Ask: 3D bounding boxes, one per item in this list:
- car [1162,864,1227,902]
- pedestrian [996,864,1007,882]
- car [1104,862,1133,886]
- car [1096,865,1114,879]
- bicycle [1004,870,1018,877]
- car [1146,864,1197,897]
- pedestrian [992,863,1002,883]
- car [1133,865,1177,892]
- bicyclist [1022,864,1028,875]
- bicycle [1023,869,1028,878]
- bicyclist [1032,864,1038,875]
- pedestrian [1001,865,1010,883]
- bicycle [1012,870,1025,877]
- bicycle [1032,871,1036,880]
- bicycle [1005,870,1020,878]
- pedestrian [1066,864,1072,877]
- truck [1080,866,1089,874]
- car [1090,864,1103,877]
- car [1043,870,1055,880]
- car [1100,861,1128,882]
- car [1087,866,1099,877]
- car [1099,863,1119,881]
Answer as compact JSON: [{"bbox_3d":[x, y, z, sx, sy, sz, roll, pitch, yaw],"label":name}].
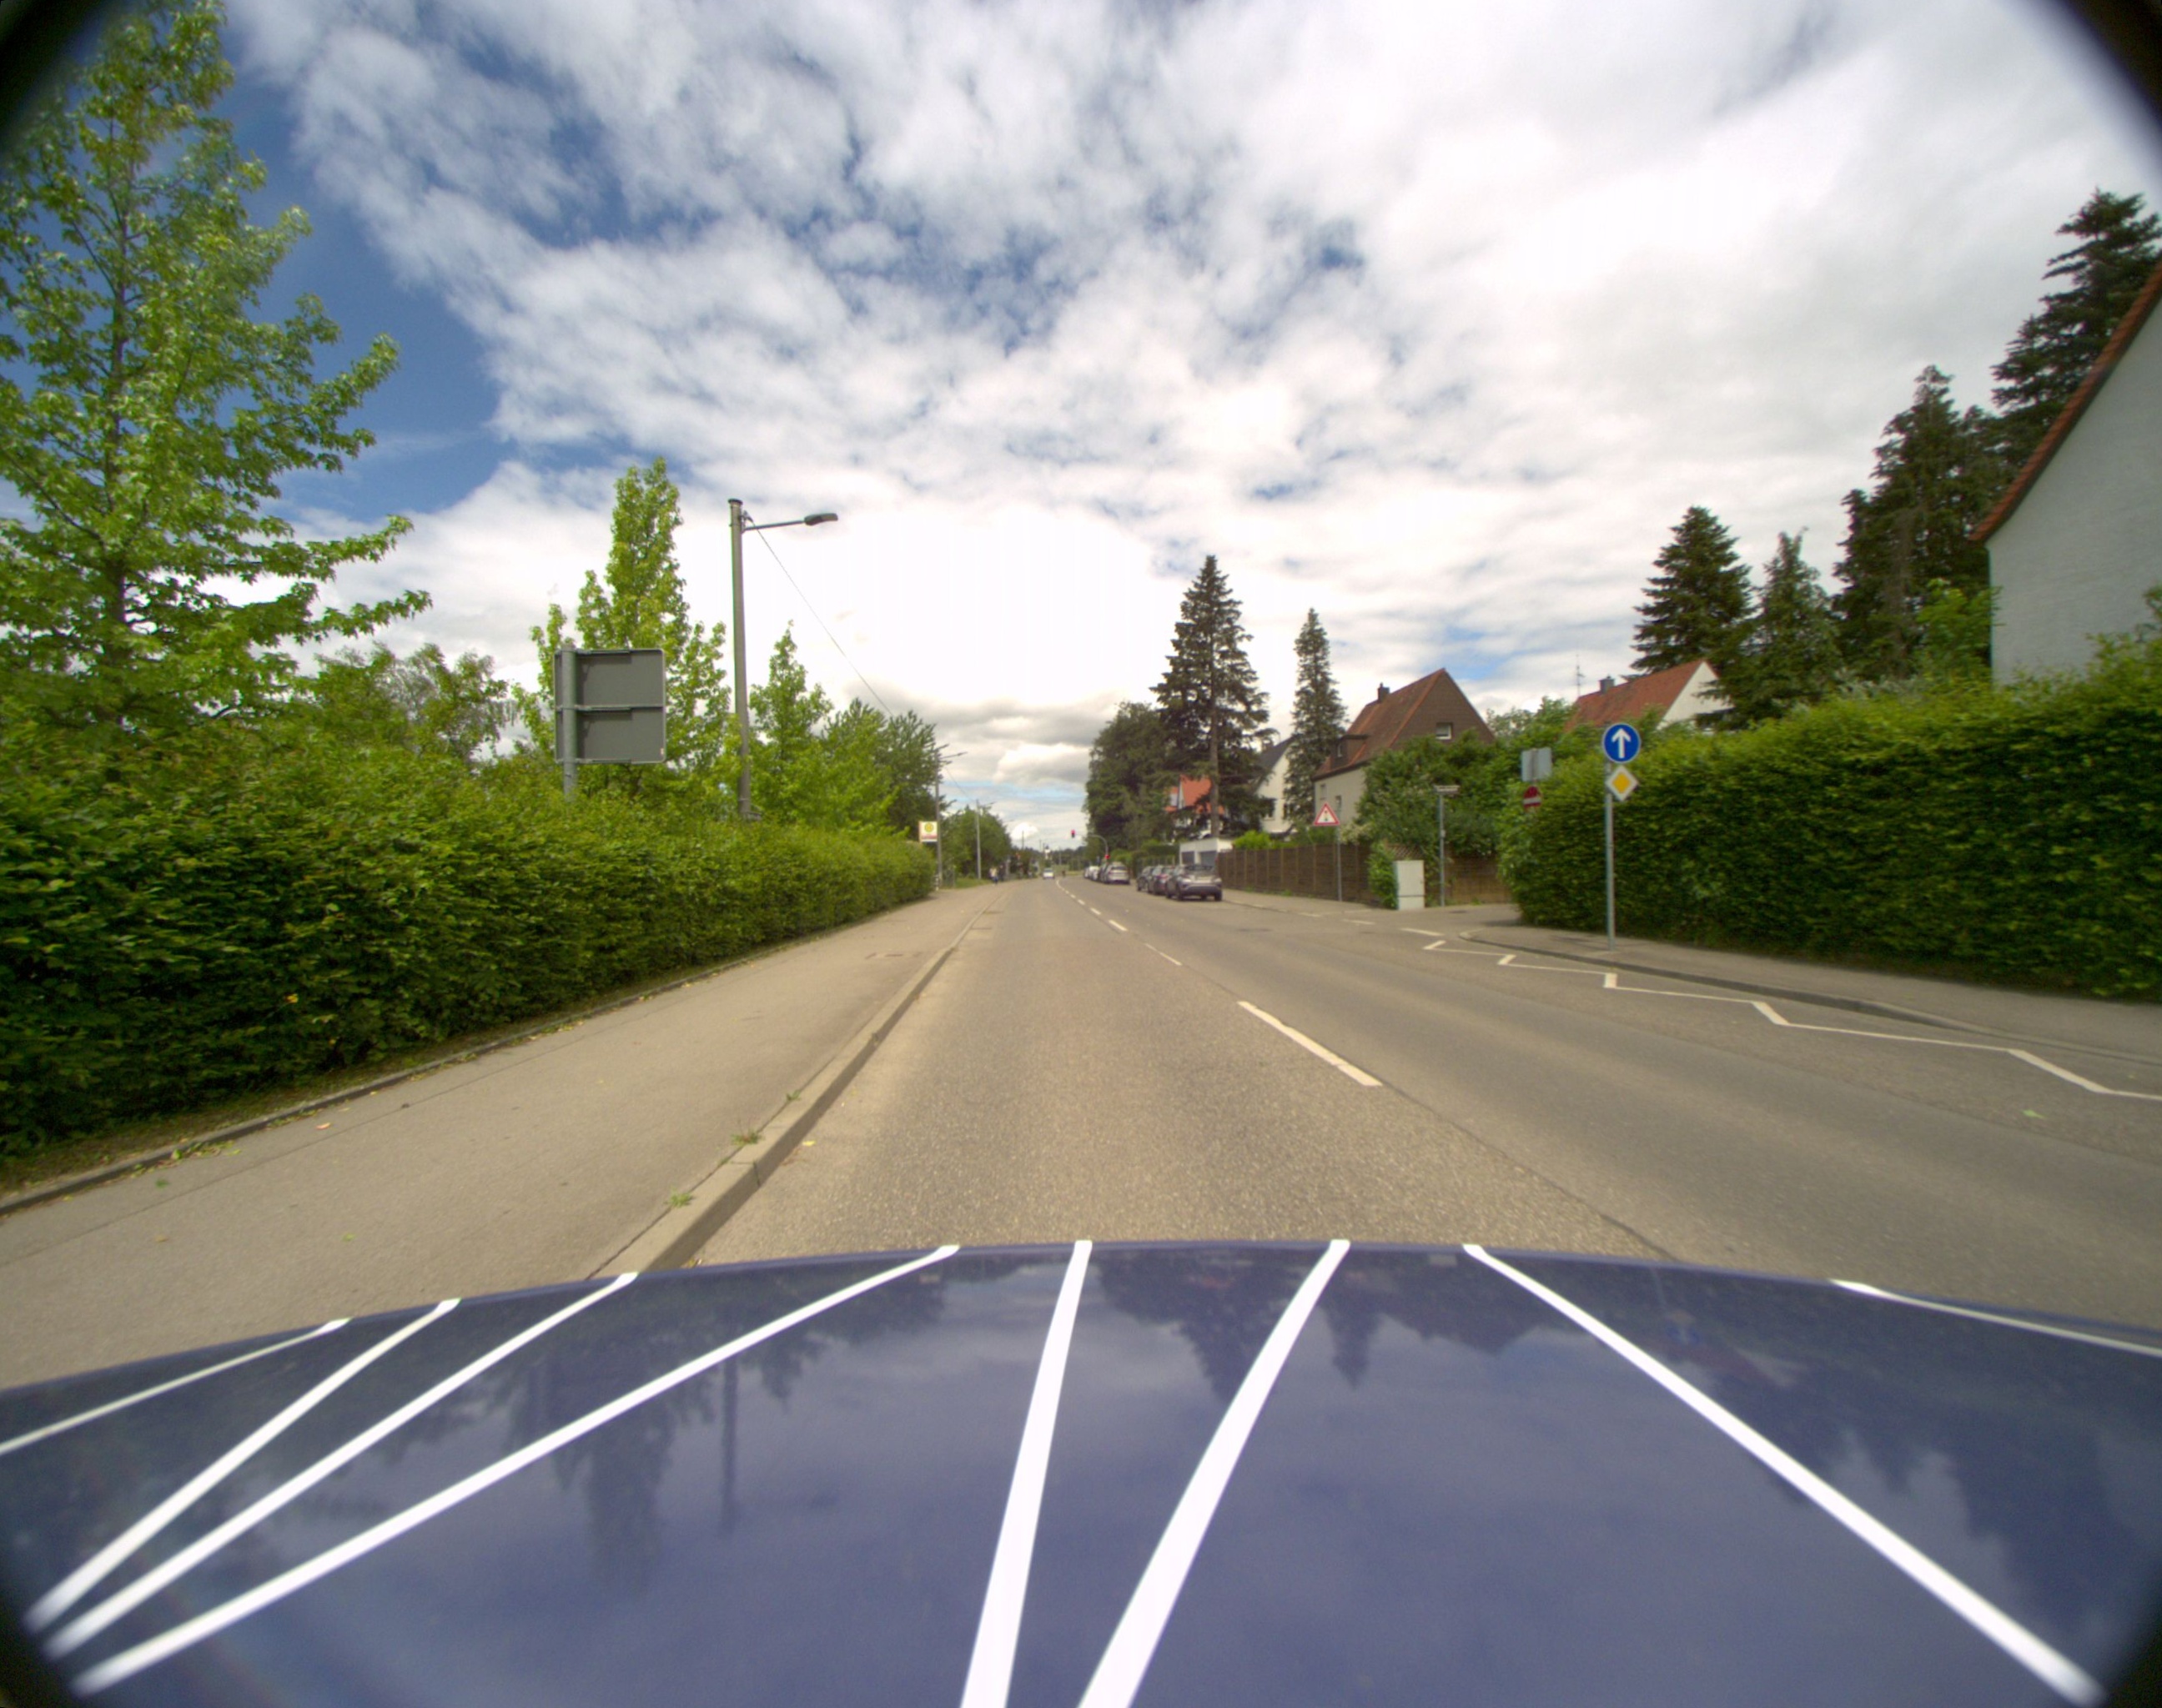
[{"bbox_3d":[4.678,1.175,32.056,1.999,1.470,4.647,0,-1,-1],"label":"car"},{"bbox_3d":[-7.296,1.725,69.593,0.841,1.649,0.766,-3,0,3],"label":"pedestrian"},{"bbox_3d":[3.063,1.639,62.780,1.990,1.808,4.707,-1,-1,-2],"label":"car"},{"bbox_3d":[2.592,1.982,82.041,1.810,1.450,5.069,0,-1,0],"label":"car"},{"bbox_3d":[-10.591,2.999,114.989,2.093,1.074,0.547,-1,0,2],"label":"bicycle"},{"bbox_3d":[4.380,1.261,37.489,1.872,1.450,4.488,-1,0,-2],"label":"car"},{"bbox_3d":[-7.071,1.577,63.784,0.687,1.649,0.690,-3,0,3],"label":"pedestrian"},{"bbox_3d":[4.095,1.358,42.473,1.656,1.418,3.904,0,-1,-7],"label":"car"},{"bbox_3d":[-8.111,2.229,109.871,0.826,1.529,0.862,-1,-1,-1],"label":"bicyclist"},{"bbox_3d":[-8.028,2.811,109.895,0.451,1.142,2.208,-2,-1,-1],"label":"bicycle"},{"bbox_3d":[-6.711,2.243,110.586,0.827,1.529,0.862,-3,0,-3],"label":"bicyclist"},{"bbox_3d":[-8.098,2.172,81.227,0.747,1.871,0.801,-3,0,5],"label":"pedestrian"},{"bbox_3d":[-10.118,3.134,122.476,2.094,1.143,0.530,-2,0,-3],"label":"bicycle"},{"bbox_3d":[-6.872,3.080,110.281,0.451,1.278,2.207,-3,-1,-5],"label":"bicycle"},{"bbox_3d":[-10.469,3.086,116.396,2.093,1.041,0.559,-4,0,2],"label":"bicycle"},{"bbox_3d":[-1.642,2.176,100.372,0.649,1.654,0.708,-3,0,4],"label":"pedestrian"},{"bbox_3d":[0.953,4.361,207.237,2.194,2.357,6.905,0,-1,0],"label":"truck"},{"bbox_3d":[2.227,2.355,108.437,1.681,1.747,4.608,0,-1,-1],"label":"car"},{"bbox_3d":[-4.681,3.077,111.664,1.666,1.394,3.900,-1,-1,-1],"label":"car"},{"bbox_3d":[2.971,1.557,69.371,2.072,1.744,4.883,-3,-1,-3],"label":"car"},{"bbox_3d":[1.838,2.612,113.836,1.708,1.444,4.359,1,-1,3],"label":"car"},{"bbox_3d":[2.753,1.768,75.472,1.631,1.668,4.584,1,-1,-2],"label":"car"}]
